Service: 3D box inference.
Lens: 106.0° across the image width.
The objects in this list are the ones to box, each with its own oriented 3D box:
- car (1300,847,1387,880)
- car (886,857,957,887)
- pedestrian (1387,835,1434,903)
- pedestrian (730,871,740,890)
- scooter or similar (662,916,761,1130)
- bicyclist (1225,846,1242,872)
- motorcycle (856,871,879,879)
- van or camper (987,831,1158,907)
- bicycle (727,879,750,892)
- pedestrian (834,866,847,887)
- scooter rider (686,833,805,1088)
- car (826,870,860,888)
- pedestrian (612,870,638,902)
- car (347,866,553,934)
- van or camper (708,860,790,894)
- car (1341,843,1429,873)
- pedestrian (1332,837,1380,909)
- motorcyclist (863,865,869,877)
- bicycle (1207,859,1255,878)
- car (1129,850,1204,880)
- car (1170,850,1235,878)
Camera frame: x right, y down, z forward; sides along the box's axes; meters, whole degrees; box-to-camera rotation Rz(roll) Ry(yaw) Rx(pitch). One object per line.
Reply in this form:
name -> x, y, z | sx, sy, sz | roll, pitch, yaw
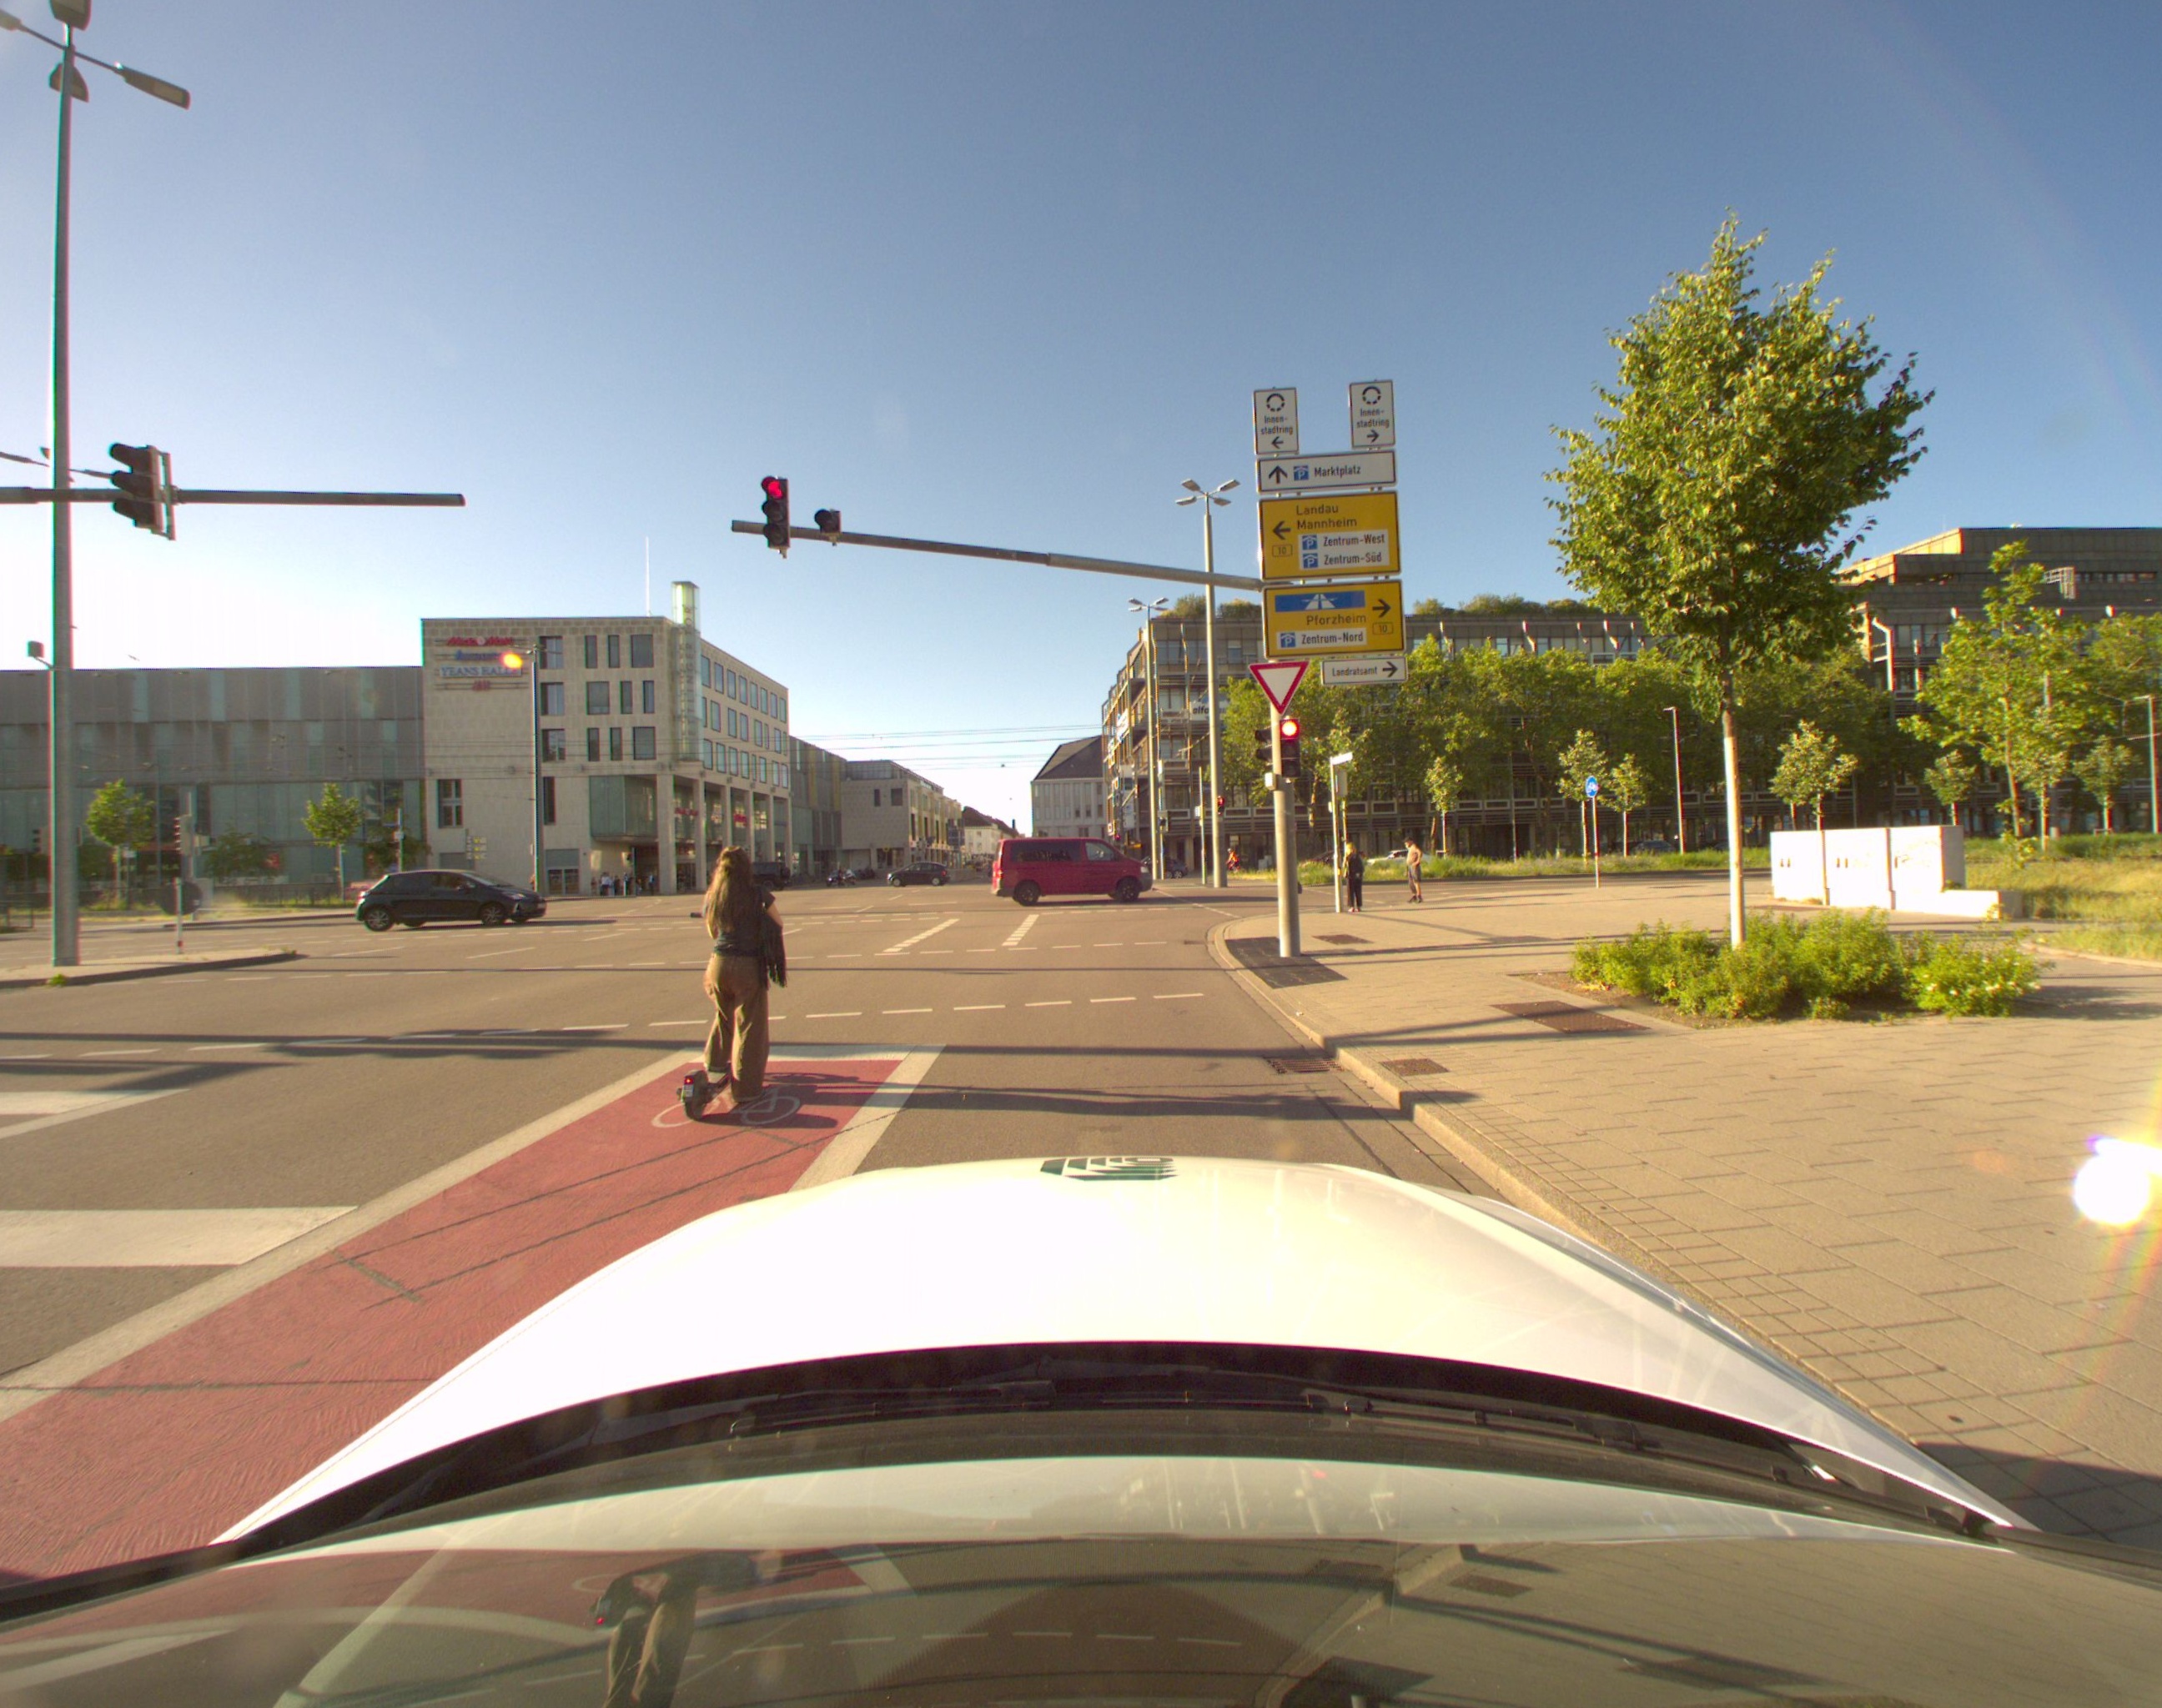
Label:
car -> 14.890, 0.518, 46.277 | 4.287, 1.684, 1.820 | -2, 0, -9
car -> -9.778, 1.115, 50.179 | 3.973, 1.684, 1.761 | -2, 0, 0
pedestrian -> 8.533, 0.375, 21.105 | 0.869, 1.706, 0.768 | -2, 0, 0
pedestrian -> -29.990, 2.275, 70.603 | 0.590, 1.646, 0.629 | -2, 0, 1
scooter or similar -> -2.204, 0.964, 4.921 | 0.306, 1.107, 0.835 | -2, 0, -9
bicyclist -> 8.823, 0.308, 47.076 | 0.820, 1.474, 0.652 | -2, 0, -2
motorcycle -> -25.914, 2.523, 98.945 | 2.600, 0.993, 1.113 | 0, -1, -8
van or camper -> -0.309, 0.411, 24.575 | 4.830, 2.013, 1.999 | -2, 0, -12
bicycle -> -26.070, 2.404, 62.014 | 0.633, 0.903, 2.220 | -2, 0, 3
pedestrian -> -18.837, 1.762, 63.699 | 0.775, 1.638, 0.625 | -2, 0, -3
scooter rider -> -2.120, 0.645, 5.190 | 0.552, 1.530, 0.448 | -2, 0, -7
car -> -20.516, 2.157, 70.448 | 1.670, 1.357, 4.021 | -2, 0, 1
pedestrian -> -25.138, 1.766, 44.914 | 0.821, 1.675, 1.004 | -2, 0, -2
car -> -16.367, 1.151, 21.323 | 3.865, 1.510, 1.664 | -2, 0, -13
van or camper -> -21.384, 1.477, 52.656 | 4.404, 2.013, 1.993 | -2, 0, -3
car -> 19.123, 0.242, 51.282 | 4.831, 1.684, 1.824 | -2, 0, -2
pedestrian -> 6.372, 0.426, 18.919 | 0.763, 1.614, 0.874 | -2, 0, 0
motorcyclist -> -26.120, 2.058, 99.124 | 0.627, 1.406, 0.661 | 0, -1, -7
bicycle -> 8.678, 0.822, 47.060 | 2.561, 0.975, 1.047 | -2, 0, -1
car -> 5.270, 0.683, 50.476 | 4.392, 1.684, 1.824 | -2, 0, -2
car -> 7.969, 0.629, 53.571 | 3.976, 1.684, 1.824 | -2, 0, -2
